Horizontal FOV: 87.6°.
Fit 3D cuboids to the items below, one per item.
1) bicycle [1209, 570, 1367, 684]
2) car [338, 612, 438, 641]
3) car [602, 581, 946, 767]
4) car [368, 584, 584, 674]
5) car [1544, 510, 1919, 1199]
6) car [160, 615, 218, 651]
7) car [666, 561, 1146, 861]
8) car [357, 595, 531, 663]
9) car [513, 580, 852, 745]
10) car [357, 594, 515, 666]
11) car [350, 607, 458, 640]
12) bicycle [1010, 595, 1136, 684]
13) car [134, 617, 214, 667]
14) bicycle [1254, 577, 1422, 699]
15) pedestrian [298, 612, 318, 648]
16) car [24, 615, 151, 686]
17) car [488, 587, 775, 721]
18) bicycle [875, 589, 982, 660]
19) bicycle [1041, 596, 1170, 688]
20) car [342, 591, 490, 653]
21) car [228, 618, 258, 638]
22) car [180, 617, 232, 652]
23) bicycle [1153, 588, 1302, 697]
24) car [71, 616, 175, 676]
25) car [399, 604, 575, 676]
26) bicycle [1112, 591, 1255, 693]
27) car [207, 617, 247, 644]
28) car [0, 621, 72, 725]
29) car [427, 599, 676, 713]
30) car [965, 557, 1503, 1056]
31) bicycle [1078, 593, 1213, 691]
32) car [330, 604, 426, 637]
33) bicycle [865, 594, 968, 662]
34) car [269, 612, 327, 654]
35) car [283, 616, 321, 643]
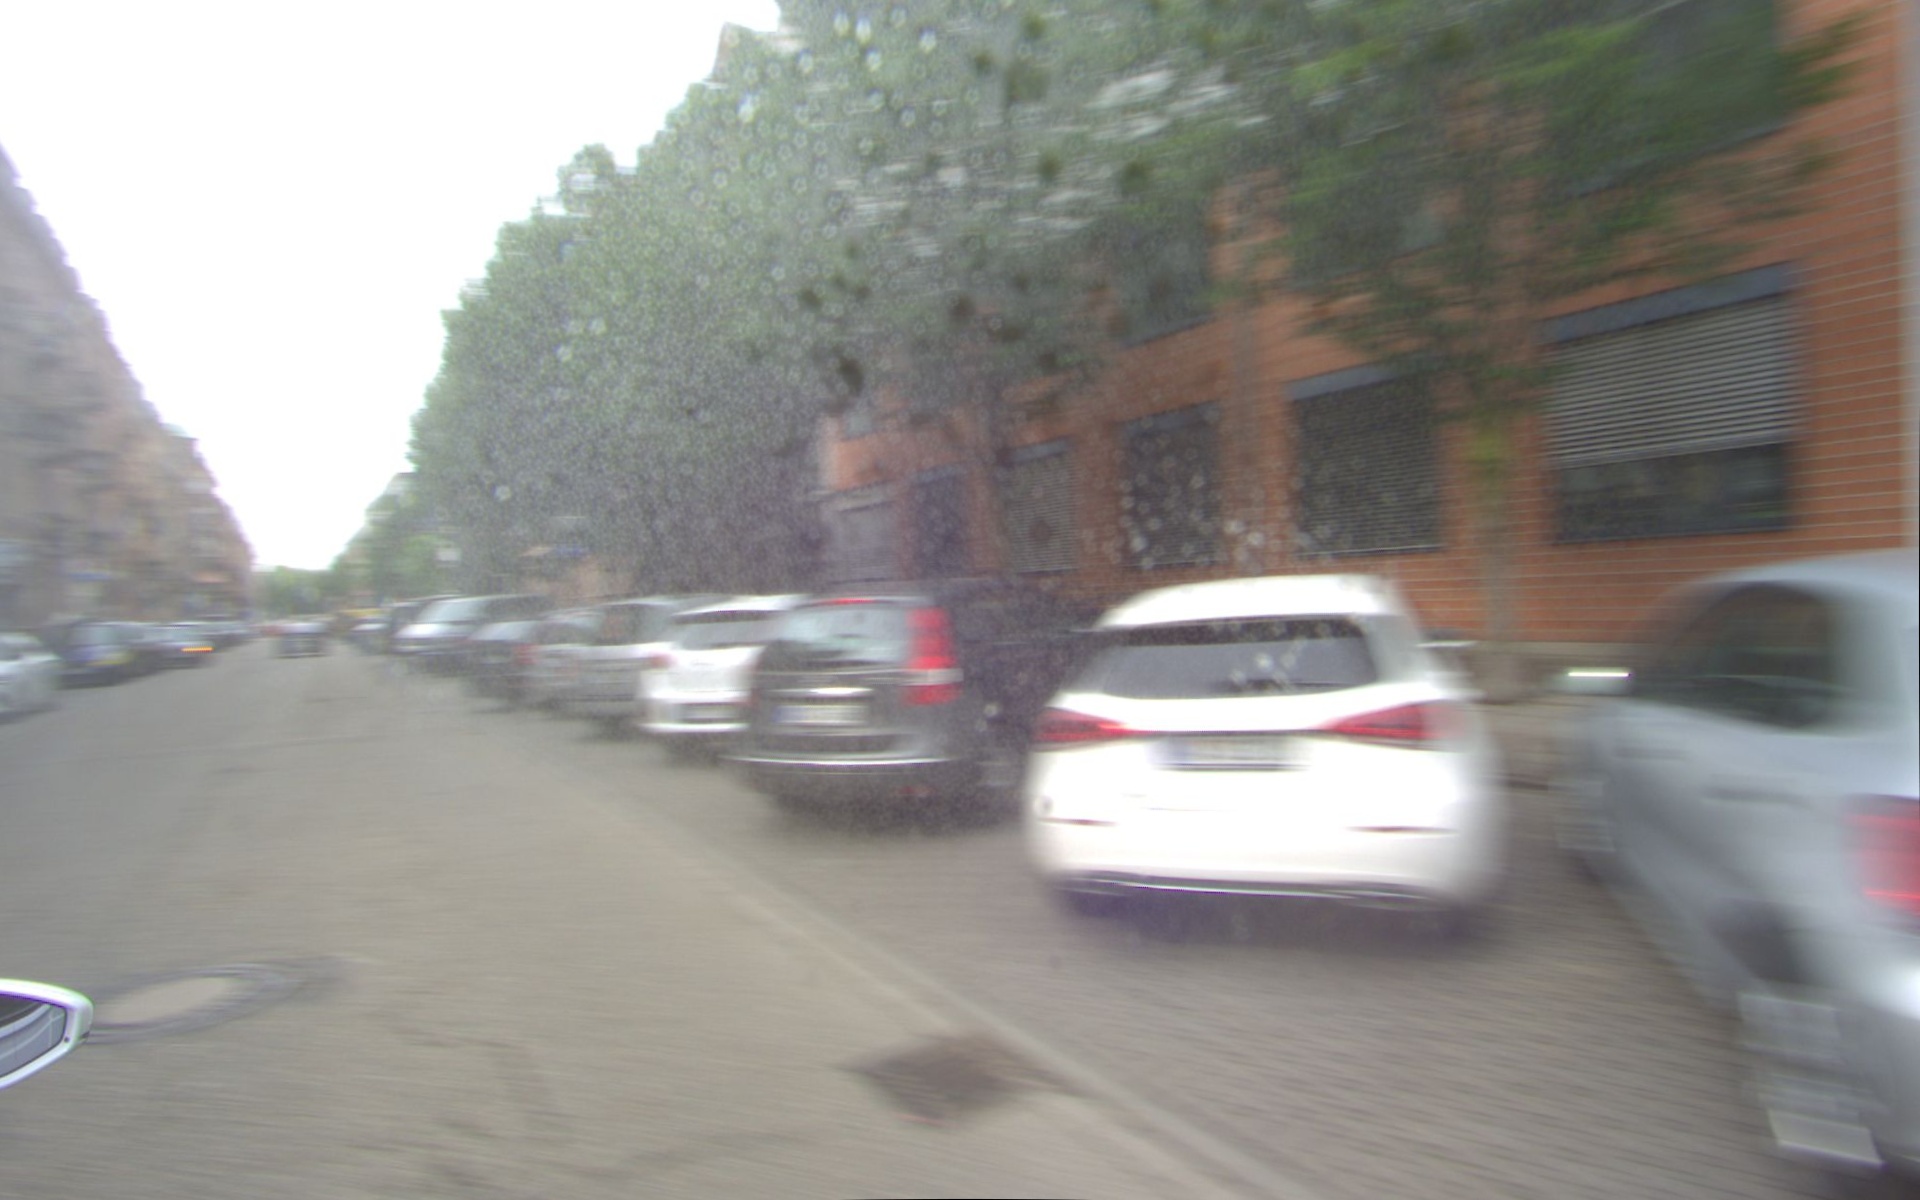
[{"bbox_3d":[3.527,0.258,10.683,1.876,1.106,0.539,-2,0,-34],"label":"bicycle"},{"bbox_3d":[-36.656,1.694,64.376,1.920,1.574,5.382,-2,1,27],"label":"car"},{"bbox_3d":[-1.676,0.626,10.527,1.653,1.506,4.049,-3,1,20],"label":"car"},{"bbox_3d":[-13.580,0.736,28.608,1.918,2.155,5.607,-3,1,22],"label":"car"},{"bbox_3d":[3.115,0.552,2.952,1.814,1.519,3.557,-1,0,21],"label":"car"},{"bbox_3d":[-37.409,1.590,48.653,1.925,1.638,3.917,-2,0,-34],"label":"car"},{"bbox_3d":[-0.063,0.570,7.583,1.873,1.606,4.044,-3,1,25],"label":"car"},{"bbox_3d":[-17.926,0.949,35.169,1.918,2.019,5.387,-3,1,22],"label":"car"},{"bbox_3d":[-3.193,0.648,12.411,1.743,1.606,4.044,-3,1,26],"label":"car"},{"bbox_3d":[-16.341,0.898,31.409,1.727,2.040,3.974,-2,1,35],"label":"car"},{"bbox_3d":[-32.625,1.365,58.971,1.920,1.574,5.381,-3,1,27],"label":"car"},{"bbox_3d":[1.561,0.521,13.694,1.735,1.106,0.562,-2,0,-34],"label":"bicycle"},{"bbox_3d":[-27.999,1.461,35.798,1.925,1.638,3.917,-2,0,-34],"label":"car"},{"bbox_3d":[3.868,0.355,10.184,1.913,1.106,0.573,-2,0,-34],"label":"bicycle"},{"bbox_3d":[-39.438,1.820,60.580,0.882,2.173,1.021,-3,0,-35],"label":"pedestrian"},{"bbox_3d":[-22.532,1.258,26.022,1.924,1.638,3.919,-2,0,-33],"label":"car"},{"bbox_3d":[-4.638,0.696,14.808,1.742,1.606,4.047,-3,1,22],"label":"car"},{"bbox_3d":[-0.510,0.404,16.859,1.735,1.106,0.562,-2,0,-34],"label":"bicycle"},{"bbox_3d":[1.939,0.535,13.223,1.735,1.106,0.562,-2,0,-34],"label":"bicycle"},{"bbox_3d":[-24.119,0.939,44.612,1.925,2.405,5.367,-2,1,35],"label":"car"},{"bbox_3d":[-62.748,2.462,87.606,1.975,1.518,3.972,-2,-1,-37],"label":"car"},{"bbox_3d":[-40.640,1.828,54.033,1.924,1.764,3.919,-2,0,-33],"label":"car"},{"bbox_3d":[3.047,0.457,11.324,1.817,1.106,0.539,-2,0,-34],"label":"bicycle"},{"bbox_3d":[-25.469,1.366,30.601,1.924,1.638,3.919,-2,0,-33],"label":"car"},{"bbox_3d":[-11.995,0.970,25.667,1.742,1.525,3.851,-3,1,22],"label":"car"},{"bbox_3d":[2.709,0.481,12.049,1.817,1.106,0.562,-2,0,-34],"label":"bicycle"},{"bbox_3d":[-50.242,2.070,68.658,1.924,1.761,3.918,-3,1,-33],"label":"car"},{"bbox_3d":[-16.191,1.189,16.213,1.922,1.574,3.797,-4,1,-31],"label":"car"},{"bbox_3d":[-6.602,0.840,16.660,1.739,1.525,3.856,-3,1,16],"label":"car"},{"bbox_3d":[1.700,0.673,5.334,1.845,1.564,3.973,-1,-1,25],"label":"car"},{"bbox_3d":[2.338,0.505,12.554,1.735,1.106,0.562,-2,0,-34],"label":"bicycle"},{"bbox_3d":[-39.614,1.344,68.320,1.920,1.893,5.381,-3,1,27],"label":"car"},{"bbox_3d":[-0.744,0.476,17.486,1.735,1.106,0.562,-2,0,-34],"label":"bicycle"},{"bbox_3d":[-28.984,1.456,43.840,1.974,1.702,3.975,-2,-1,-35],"label":"car"},{"bbox_3d":[-44.065,1.997,67.011,1.974,1.702,3.975,-2,-1,-35],"label":"car"}]
